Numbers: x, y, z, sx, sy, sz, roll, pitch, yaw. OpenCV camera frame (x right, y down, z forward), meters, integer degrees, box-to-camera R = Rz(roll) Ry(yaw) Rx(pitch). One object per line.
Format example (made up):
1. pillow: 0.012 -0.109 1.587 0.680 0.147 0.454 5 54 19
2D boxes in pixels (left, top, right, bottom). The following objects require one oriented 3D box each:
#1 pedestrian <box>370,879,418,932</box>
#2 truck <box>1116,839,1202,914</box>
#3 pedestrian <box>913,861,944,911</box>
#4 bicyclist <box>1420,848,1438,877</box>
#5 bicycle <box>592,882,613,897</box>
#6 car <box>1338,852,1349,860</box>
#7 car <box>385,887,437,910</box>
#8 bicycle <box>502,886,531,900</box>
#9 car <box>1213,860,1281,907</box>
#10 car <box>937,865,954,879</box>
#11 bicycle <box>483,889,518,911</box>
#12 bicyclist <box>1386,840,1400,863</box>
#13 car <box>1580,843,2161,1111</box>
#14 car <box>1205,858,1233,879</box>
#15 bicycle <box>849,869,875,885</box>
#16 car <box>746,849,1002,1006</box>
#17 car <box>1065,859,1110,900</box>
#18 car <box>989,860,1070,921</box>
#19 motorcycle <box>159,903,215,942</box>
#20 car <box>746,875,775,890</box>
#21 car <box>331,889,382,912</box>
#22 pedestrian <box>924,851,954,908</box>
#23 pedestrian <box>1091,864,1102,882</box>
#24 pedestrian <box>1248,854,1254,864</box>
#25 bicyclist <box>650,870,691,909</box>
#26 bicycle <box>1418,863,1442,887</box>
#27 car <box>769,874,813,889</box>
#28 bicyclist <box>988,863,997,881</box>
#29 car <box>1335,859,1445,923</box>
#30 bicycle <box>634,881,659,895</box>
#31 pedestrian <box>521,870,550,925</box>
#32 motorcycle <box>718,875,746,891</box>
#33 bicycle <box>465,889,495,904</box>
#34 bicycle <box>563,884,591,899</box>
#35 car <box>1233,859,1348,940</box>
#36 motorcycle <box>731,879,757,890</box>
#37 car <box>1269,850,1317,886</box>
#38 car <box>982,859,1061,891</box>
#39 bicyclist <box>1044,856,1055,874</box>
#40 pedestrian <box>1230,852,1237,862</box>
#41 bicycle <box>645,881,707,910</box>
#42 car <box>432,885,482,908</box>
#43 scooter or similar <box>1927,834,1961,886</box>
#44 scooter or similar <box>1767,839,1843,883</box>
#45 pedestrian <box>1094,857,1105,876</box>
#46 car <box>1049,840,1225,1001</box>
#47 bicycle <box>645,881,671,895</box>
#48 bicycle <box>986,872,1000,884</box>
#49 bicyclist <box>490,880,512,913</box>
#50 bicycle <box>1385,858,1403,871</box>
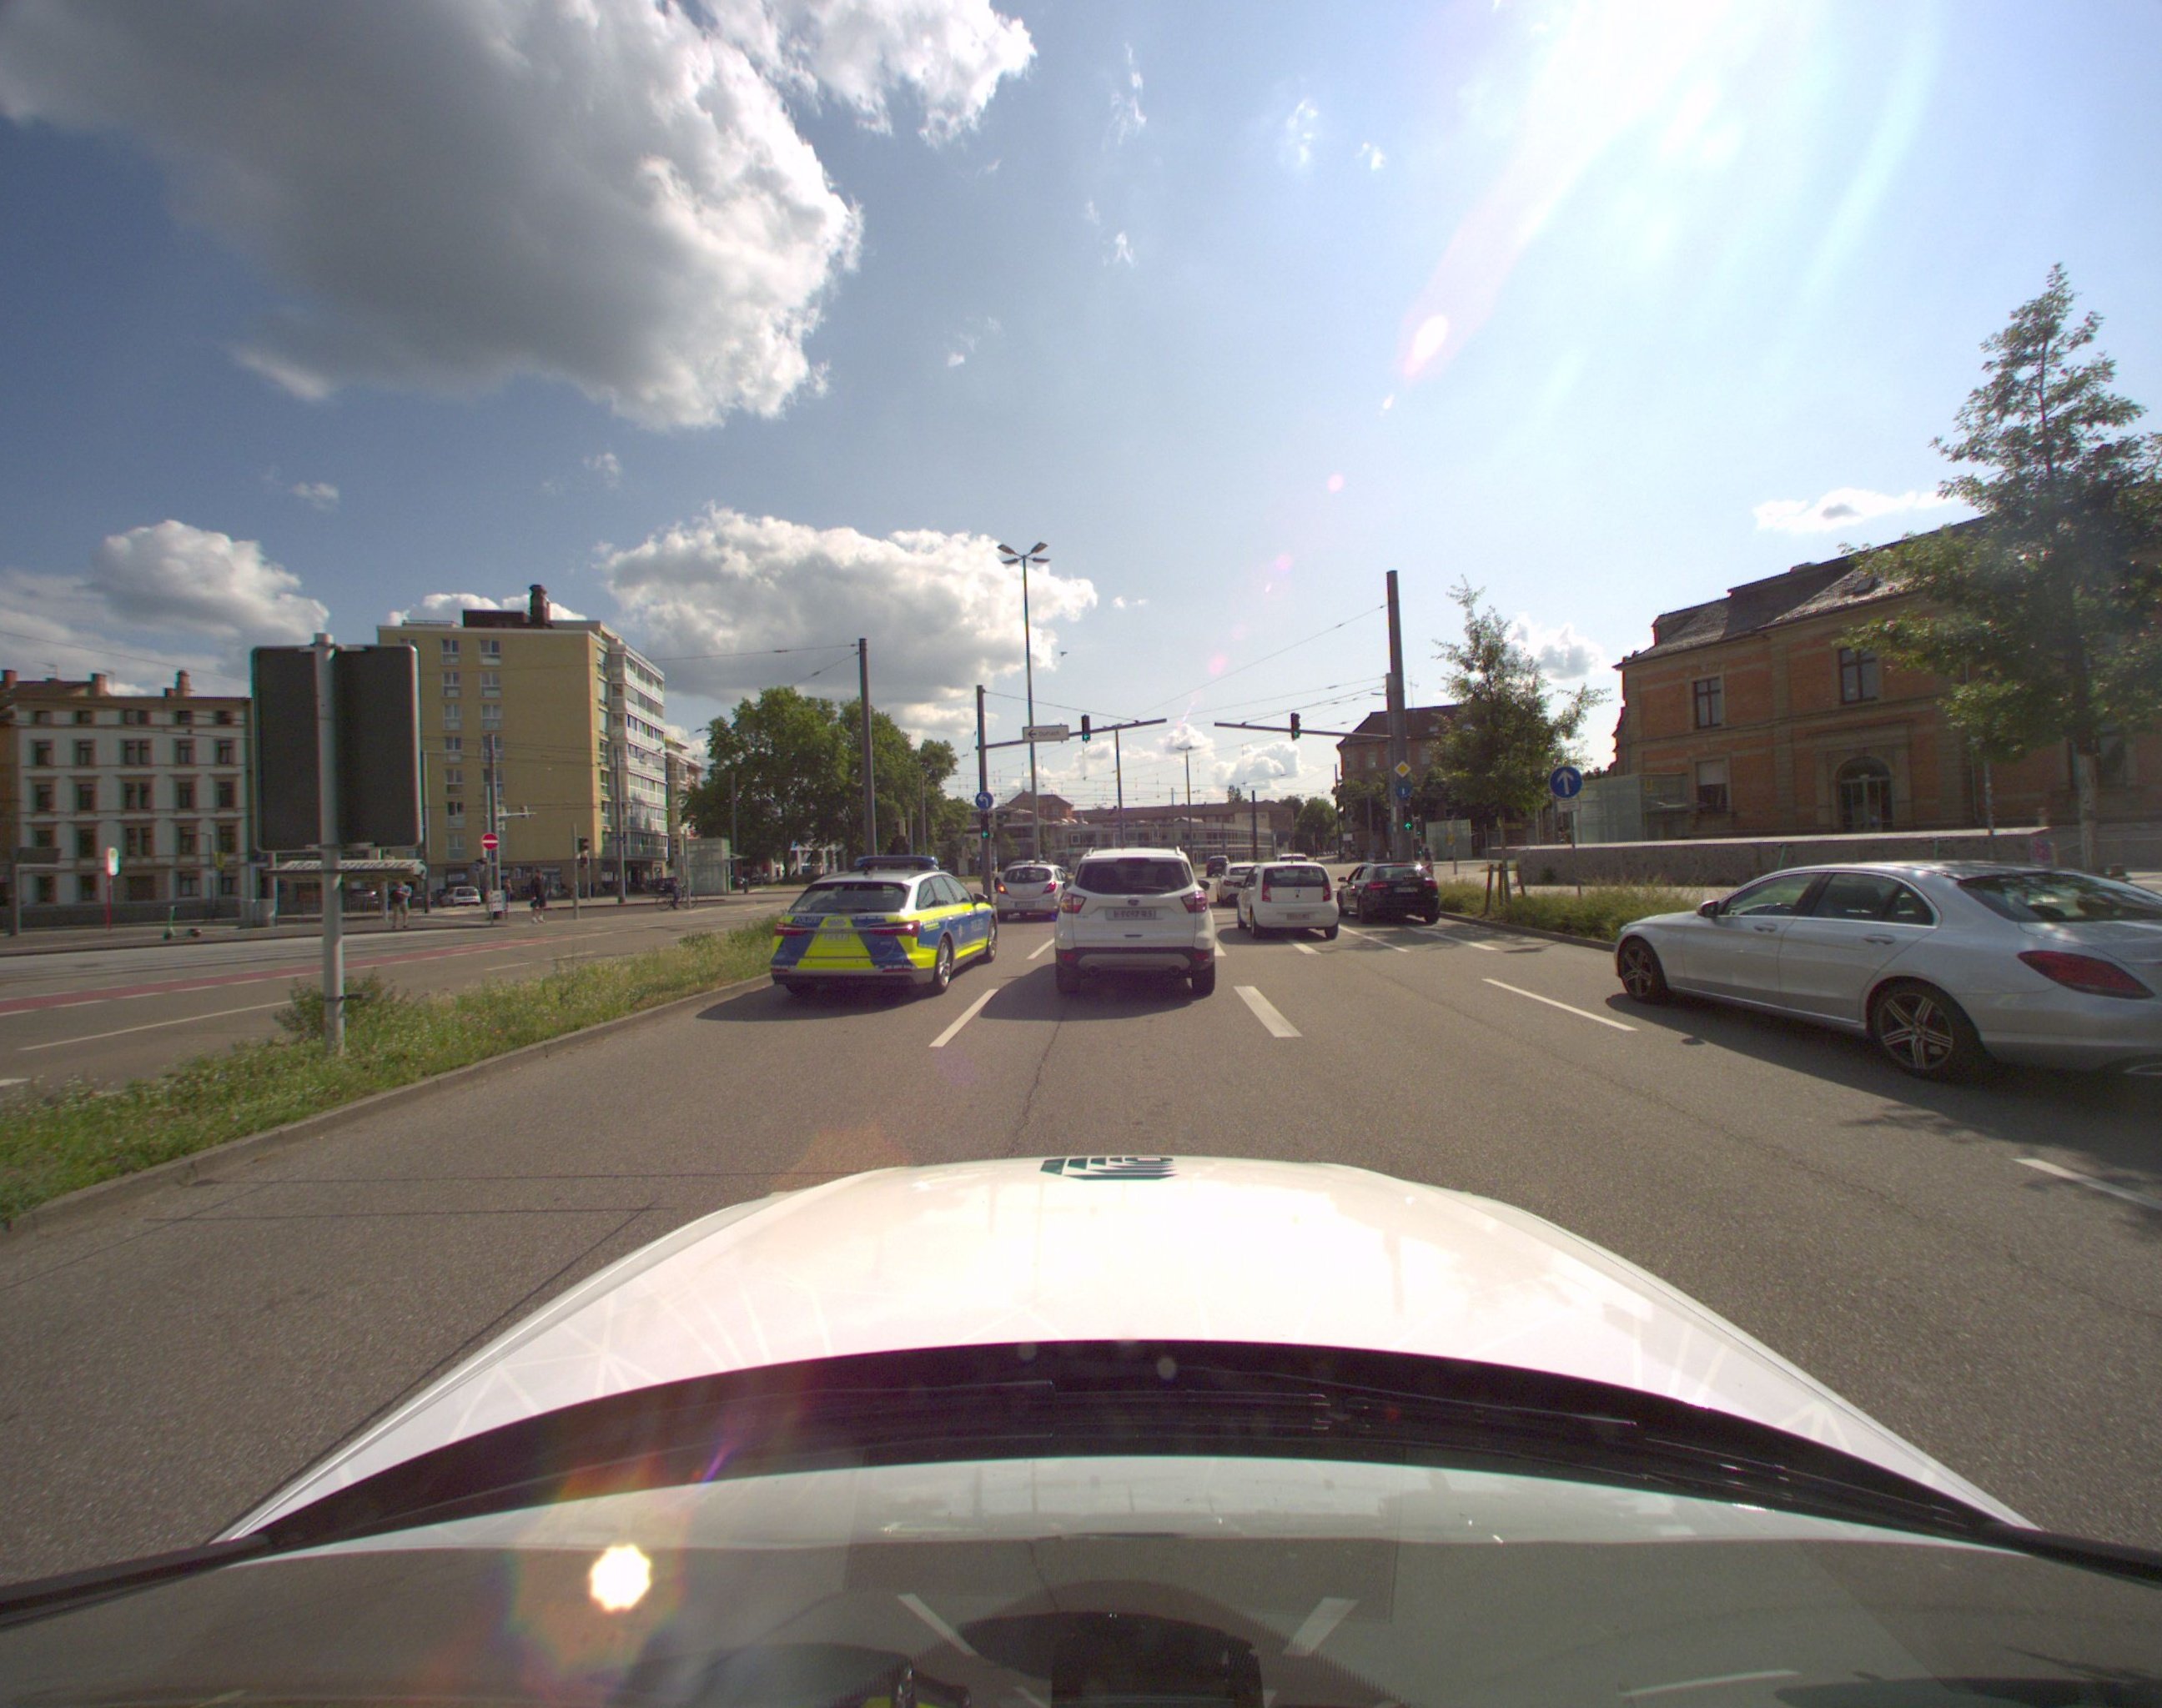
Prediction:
1. pedestrian: -24.202 1.805 28.719 0.761 1.798 1.029 -1 -1 5
2. truck: 2.660 0.675 26.389 2.325 2.155 5.867 -1 -1 9
3. pedestrian: -5.198 1.078 27.741 0.844 1.648 0.692 -3 -2 1
4. bicyclist: 15.898 0.389 37.184 0.629 1.220 0.929 -4 0 27
5. bicycle: -41.379 3.072 70.444 0.792 1.258 1.808 -2 -1 -2
6. car: 53.658 0.471 166.170 1.820 1.652 4.021 -2 -1 22
7. car: -48.110 3.188 58.460 3.849 1.497 1.912 -4 -2 35
8. bicycle: -46.867 3.257 67.668 1.808 1.104 0.792 -2 -1 -18
9. car: 5.541 0.957 27.591 1.841 1.419 3.684 -1 -1 5
10. car: -20.376 2.718 122.697 1.989 2.014 4.227 -4 -2 -2
11. bicycle: -32.464 2.559 45.590 0.889 1.138 2.344 0 -1 -17
12. bicyclist: 19.630 -0.163 51.264 0.605 1.451 0.775 -2 -1 3
13. car: 6.534 0.684 6.821 1.923 1.455 4.761 -1 -1 2
14. car: 9.928 1.035 58.750 1.839 1.419 3.687 -2 -1 8
15. bicycle: -19.860 2.090 73.947 2.171 1.414 0.808 -1 0 -14
16. car: -2.387 0.785 10.793 1.871 1.568 4.620 -2 -1 4
17. car: 0.302 1.058 35.045 1.756 1.568 4.527 -2 -1 1
18. car: -1.338 0.952 22.720 1.841 1.475 4.001 -2 -1 2
19. motorcycle: -30.698 2.355 27.962 1.436 1.237 0.484 -3 -2 3
20. car: -32.551 2.918 82.756 1.905 1.413 3.986 -3 -2 -10
21. car: -51.530 3.324 57.902 3.849 1.497 1.912 -4 -2 35
22. pedestrian: -4.982 0.893 28.559 0.844 1.917 0.692 -3 -2 1
23. pedestrian: 1.454 1.772 75.883 0.918 1.744 0.591 -1 -1 10
24. pedestrian: 30.631 0.912 146.841 0.866 1.922 0.882 -1 -2 35
25. bicyclist: -18.861 1.628 37.469 1.293 1.731 0.994 -3 -1 -1
26. bicycle: 15.901 0.943 37.066 0.839 0.970 1.973 -5 -1 27
27. car: -30.510 2.914 85.852 3.975 1.327 1.632 -3 -2 -1
28. bicyclist: -8.314 1.700 76.713 0.642 1.738 0.655 -1 0 -30
29. car: 7.507 0.843 20.162 1.689 1.372 4.143 -2 -1 9
30. bicycle: -38.419 2.996 72.065 1.808 1.147 0.792 -2 -1 -17
31. pedestrian: -19.096 1.511 28.535 0.770 1.903 0.819 0 -2 -30
32. motorcycle: -30.521 2.540 71.261 2.193 1.238 0.910 -3 0 19
33. bicycle: -49.440 3.481 66.988 1.808 1.104 0.792 -2 -1 -18
34. bicycle: -42.457 3.145 68.575 1.808 1.104 0.792 -2 -1 -18
35. car: 4.252 0.852 17.106 1.641 1.422 4.005 -3 0 5
36. motorcycle: -31.475 2.822 76.126 0.801 0.917 2.057 -3 0 39
37. car: 10.364 0.677 40.041 1.826 1.652 4.008 -2 -1 8
38. car: -3.295 1.139 44.375 2.056 1.578 4.486 -1 -1 -39
39. bicyclist: -3.080 1.060 79.184 0.753 1.683 0.764 -3 -1 16
40. pedestrian: 26.274 0.528 140.573 0.866 1.737 0.882 -1 -2 37
41. bicycle: -18.616 1.901 37.451 2.286 1.188 0.994 -3 -1 -1
42. car: -46.023 3.148 60.025 3.849 1.497 1.912 -4 -2 36
43. scooter or similar: 19.646 0.119 18.553 1.326 1.104 0.460 -3 0 -44
44. scooter or similar: 19.349 0.195 21.806 0.466 1.118 1.438 -3 0 -18
45. pedestrian: 1.708 1.169 74.805 0.918 1.744 0.591 -1 -1 9
46. car: 0.769 0.731 10.557 1.818 1.664 3.961 -1 -1 5
47. bicycle: -38.107 3.031 73.362 1.948 1.147 0.792 -2 -1 -17
48. bicycle: -8.333 2.228 76.787 0.641 1.125 1.767 -2 0 -29
49. bicyclist: -32.486 2.359 45.636 0.779 1.797 0.706 0 -1 -17
50. bicycle: 19.668 0.640 51.254 0.582 0.776 1.623 -2 -1 4
